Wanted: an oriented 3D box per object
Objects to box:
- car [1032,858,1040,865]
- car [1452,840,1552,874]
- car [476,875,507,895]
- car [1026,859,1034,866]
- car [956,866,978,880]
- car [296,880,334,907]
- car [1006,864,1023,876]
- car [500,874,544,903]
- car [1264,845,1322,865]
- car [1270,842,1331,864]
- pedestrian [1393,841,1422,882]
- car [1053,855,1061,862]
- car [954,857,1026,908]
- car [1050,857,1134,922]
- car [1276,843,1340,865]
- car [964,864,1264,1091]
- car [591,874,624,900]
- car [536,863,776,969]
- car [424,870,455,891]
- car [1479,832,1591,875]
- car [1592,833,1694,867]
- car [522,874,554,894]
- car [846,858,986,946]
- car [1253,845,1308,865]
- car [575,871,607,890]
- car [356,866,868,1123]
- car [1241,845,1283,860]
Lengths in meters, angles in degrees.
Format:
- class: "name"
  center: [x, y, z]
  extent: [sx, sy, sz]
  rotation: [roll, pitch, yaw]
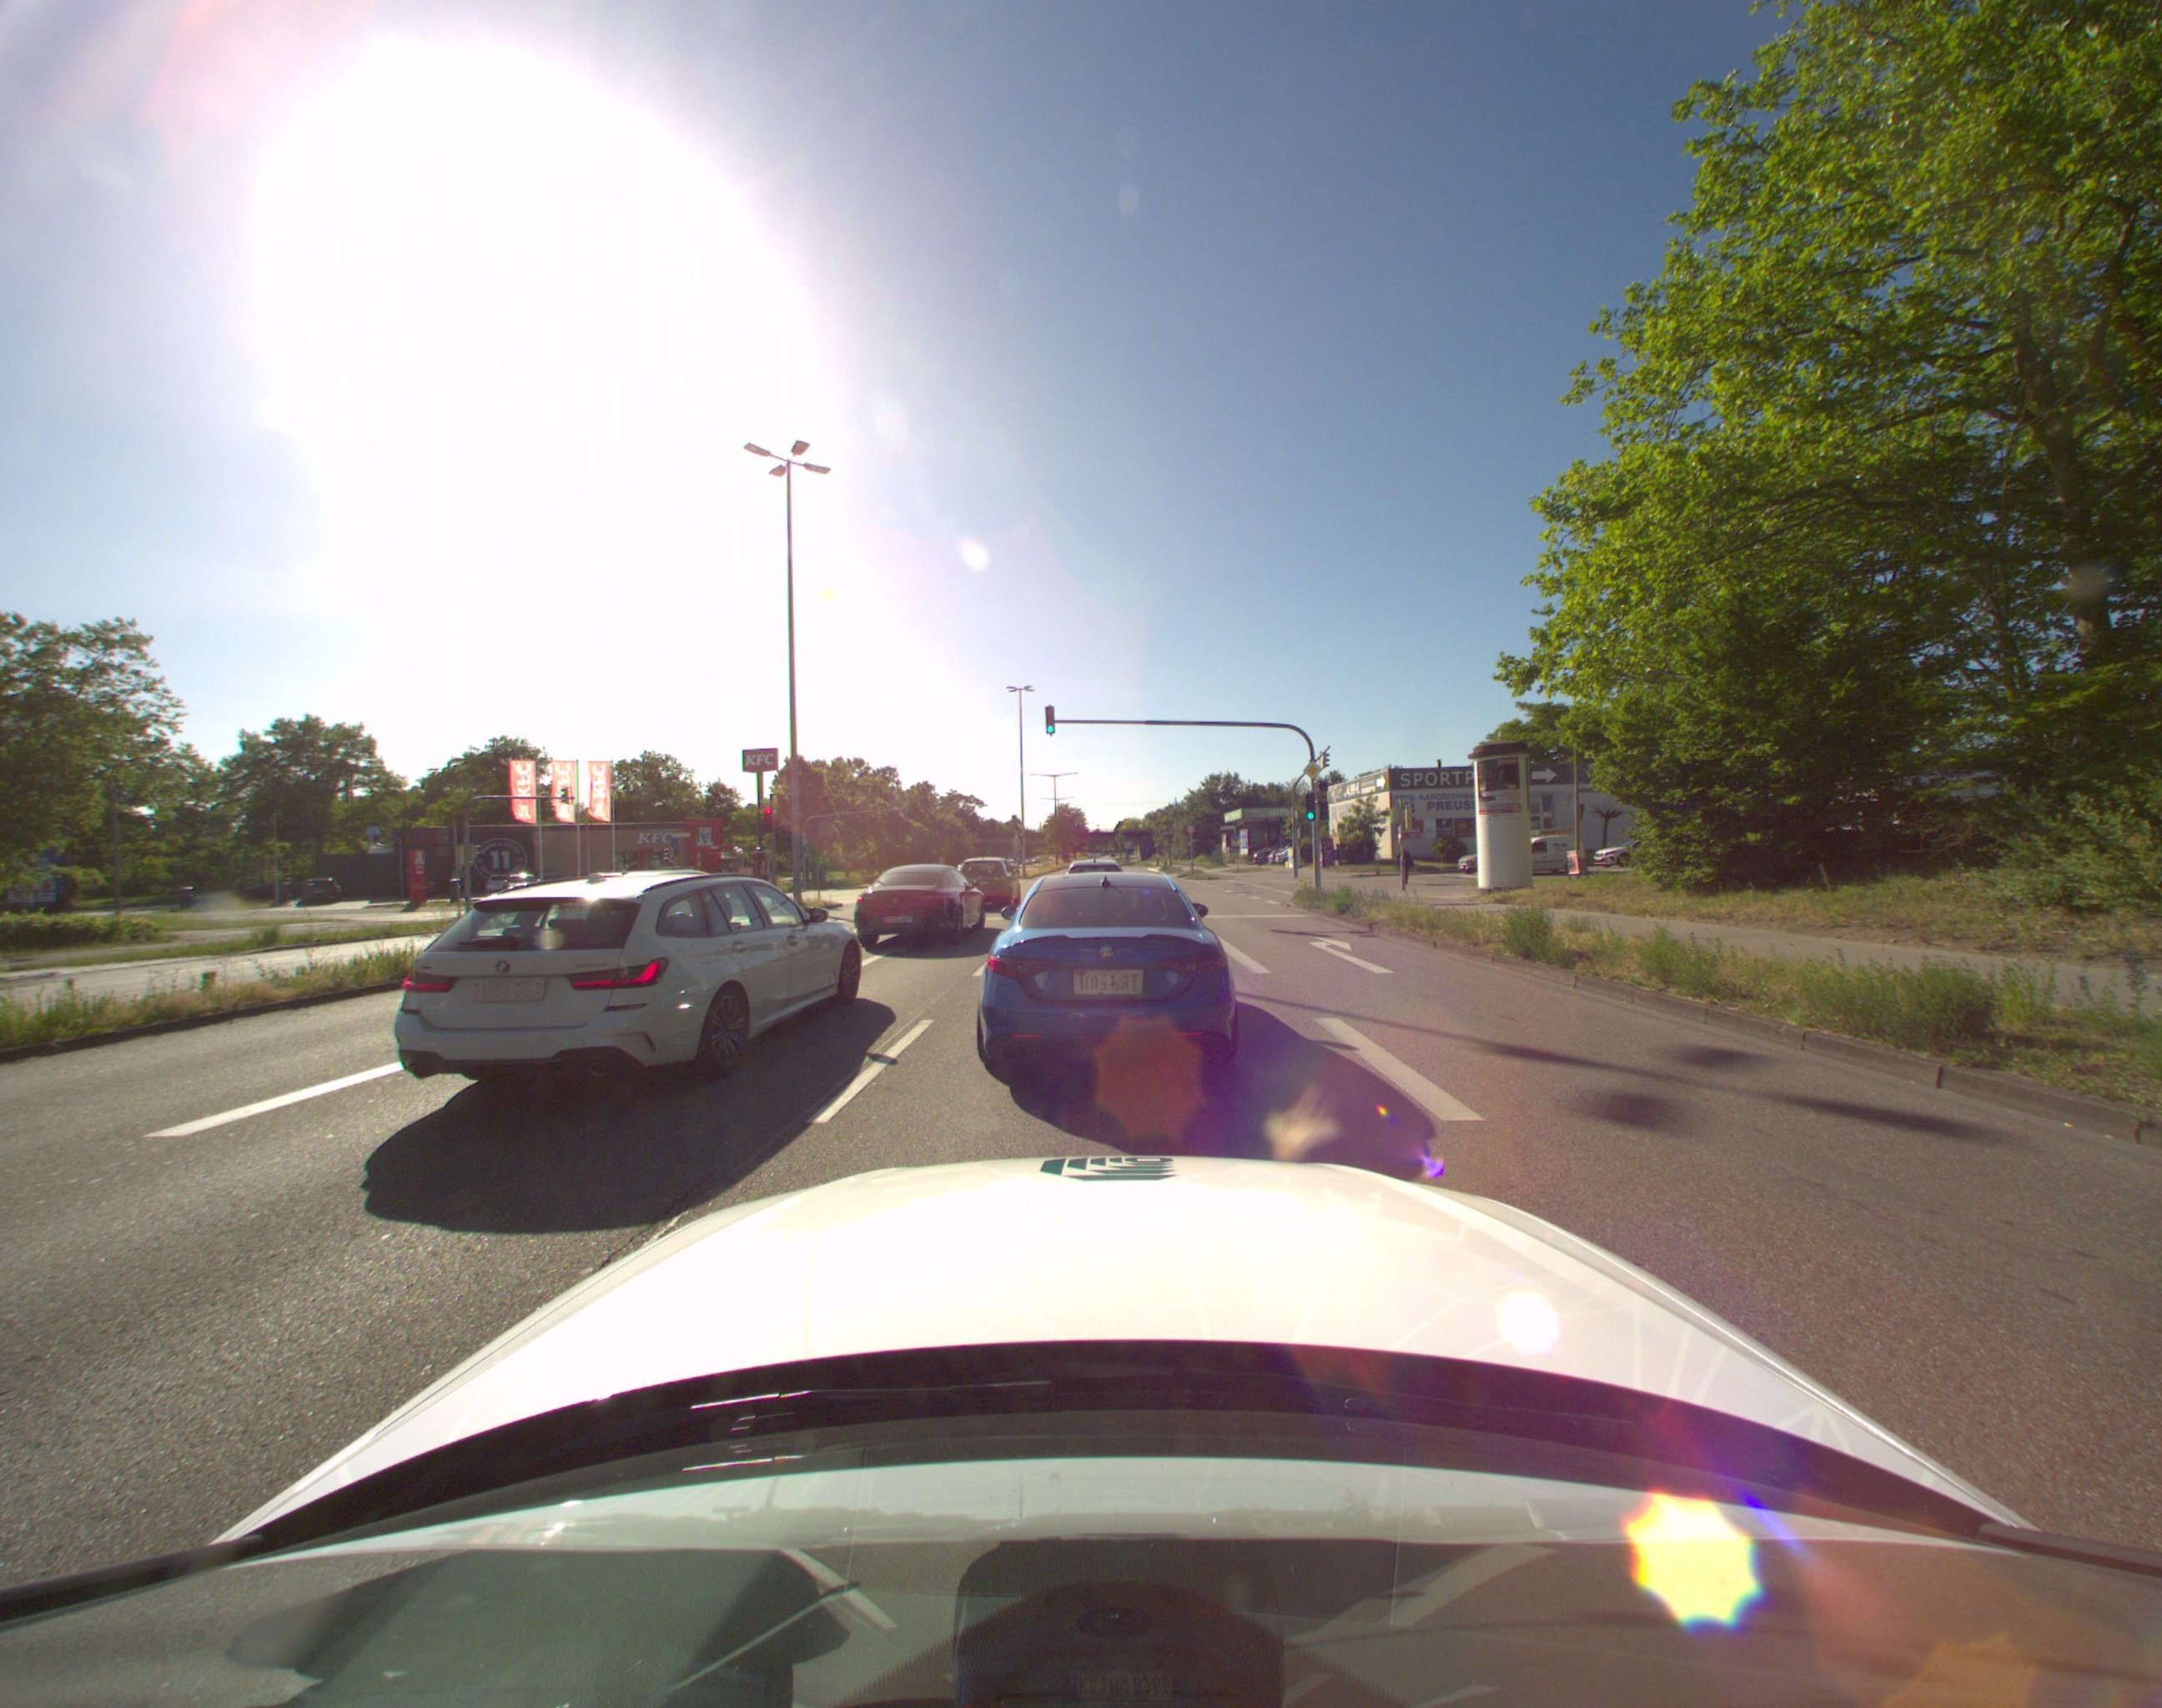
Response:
- class: "car"
  center: [-10.821, 1.806, 197.853]
  extent: [1.603, 1.647, 3.464]
  rotation: [0, -1, 2]
- class: "car"
  center: [21.779, 0.129, 42.268]
  extent: [4.273, 1.549, 1.765]
  rotation: [-3, 1, 0]
- class: "car"
  center: [-45.615, 2.393, 62.991]
  extent: [1.670, 1.471, 3.872]
  rotation: [1, -1, -40]
- class: "car"
  center: [-11.140, 1.859, 178.269]
  extent: [1.609, 1.559, 3.359]
  rotation: [0, -1, 2]
- class: "car"
  center: [-13.422, 2.287, 96.308]
  extent: [1.752, 1.490, 4.480]
  rotation: [-3, -1, 2]
- class: "car"
  center: [-52.354, 2.660, 55.684]
  extent: [1.670, 1.673, 3.897]
  rotation: [1, -1, -40]
- class: "car"
  center: [-9.108, 2.150, 111.379]
  extent: [1.752, 1.490, 3.838]
  rotation: [-3, -1, 2]
- class: "car"
  center: [-37.318, 2.263, 54.441]
  extent: [2.005, 1.765, 4.315]
  rotation: [0, -1, -29]
- class: "car"
  center: [18.056, 0.112, 69.502]
  extent: [4.470, 1.454, 1.860]
  rotation: [-3, -1, 3]
- class: "car"
  center: [17.894, -0.061, 66.635]
  extent: [4.470, 1.454, 1.860]
  rotation: [-3, -1, 3]
- class: "pedestrian"
  center: [14.272, 0.325, 35.632]
  extent: [0.922, 1.735, 0.939]
  rotation: [0, -1, 1]
- class: "car"
  center: [-6.300, 1.190, 214.325]
  extent: [1.752, 1.490, 4.480]
  rotation: [-3, -1, 2]
- class: "car"
  center: [-2.828, 0.866, 26.252]
  extent: [1.753, 1.490, 4.403]
  rotation: [0, -1, 1]
- class: "car"
  center: [0.275, 0.822, 20.206]
  extent: [1.844, 1.418, 4.403]
  rotation: [0, -1, 1]
- class: "car"
  center: [17.752, 0.031, 63.878]
  extent: [4.470, 1.454, 1.860]
  rotation: [-3, -1, 3]
- class: "car"
  center: [0.241, 0.811, 7.355]
  extent: [1.889, 1.418, 4.403]
  rotation: [0, -1, 1]
- class: "car"
  center: [-33.647, 2.285, 57.918]
  extent: [1.920, 1.752, 4.315]
  rotation: [0, -1, -29]
- class: "car"
  center: [-6.815, 0.913, 13.643]
  extent: [1.753, 1.490, 4.197]
  rotation: [0, -1, 1]
- class: "car"
  center: [-47.707, 1.946, 60.500]
  extent: [1.670, 1.471, 3.872]
  rotation: [1, -1, -40]
- class: "car"
  center: [21.646, -0.039, 38.934]
  extent: [4.367, 1.801, 1.765]
  rotation: [-3, 1, 0]
- class: "car"
  center: [29.160, -0.209, 42.315]
  extent: [4.028, 1.490, 1.782]
  rotation: [-3, -1, -1]
- class: "car"
  center: [-43.121, 2.339, 64.643]
  extent: [1.670, 1.471, 3.872]
  rotation: [1, -1, -40]
- class: "car"
  center: [-3.062, 0.843, 16.056]
  extent: [1.790, 1.490, 4.476]
  rotation: [0, -1, 1]
- class: "car"
  center: [17.909, 0.102, 73.261]
  extent: [4.470, 1.454, 1.860]
  rotation: [-3, -1, 3]
- class: "car"
  center: [-40.054, 2.169, 66.504]
  extent: [1.670, 1.471, 3.872]
  rotation: [1, -1, -40]
- class: "car"
  center: [-3.326, 0.857, 6.988]
  extent: [1.779, 1.490, 4.403]
  rotation: [0, -1, 1]
- class: "car"
  center: [21.441, -0.214, 96.652]
  extent: [4.532, 1.490, 1.766]
  rotation: [-3, -1, 3]
